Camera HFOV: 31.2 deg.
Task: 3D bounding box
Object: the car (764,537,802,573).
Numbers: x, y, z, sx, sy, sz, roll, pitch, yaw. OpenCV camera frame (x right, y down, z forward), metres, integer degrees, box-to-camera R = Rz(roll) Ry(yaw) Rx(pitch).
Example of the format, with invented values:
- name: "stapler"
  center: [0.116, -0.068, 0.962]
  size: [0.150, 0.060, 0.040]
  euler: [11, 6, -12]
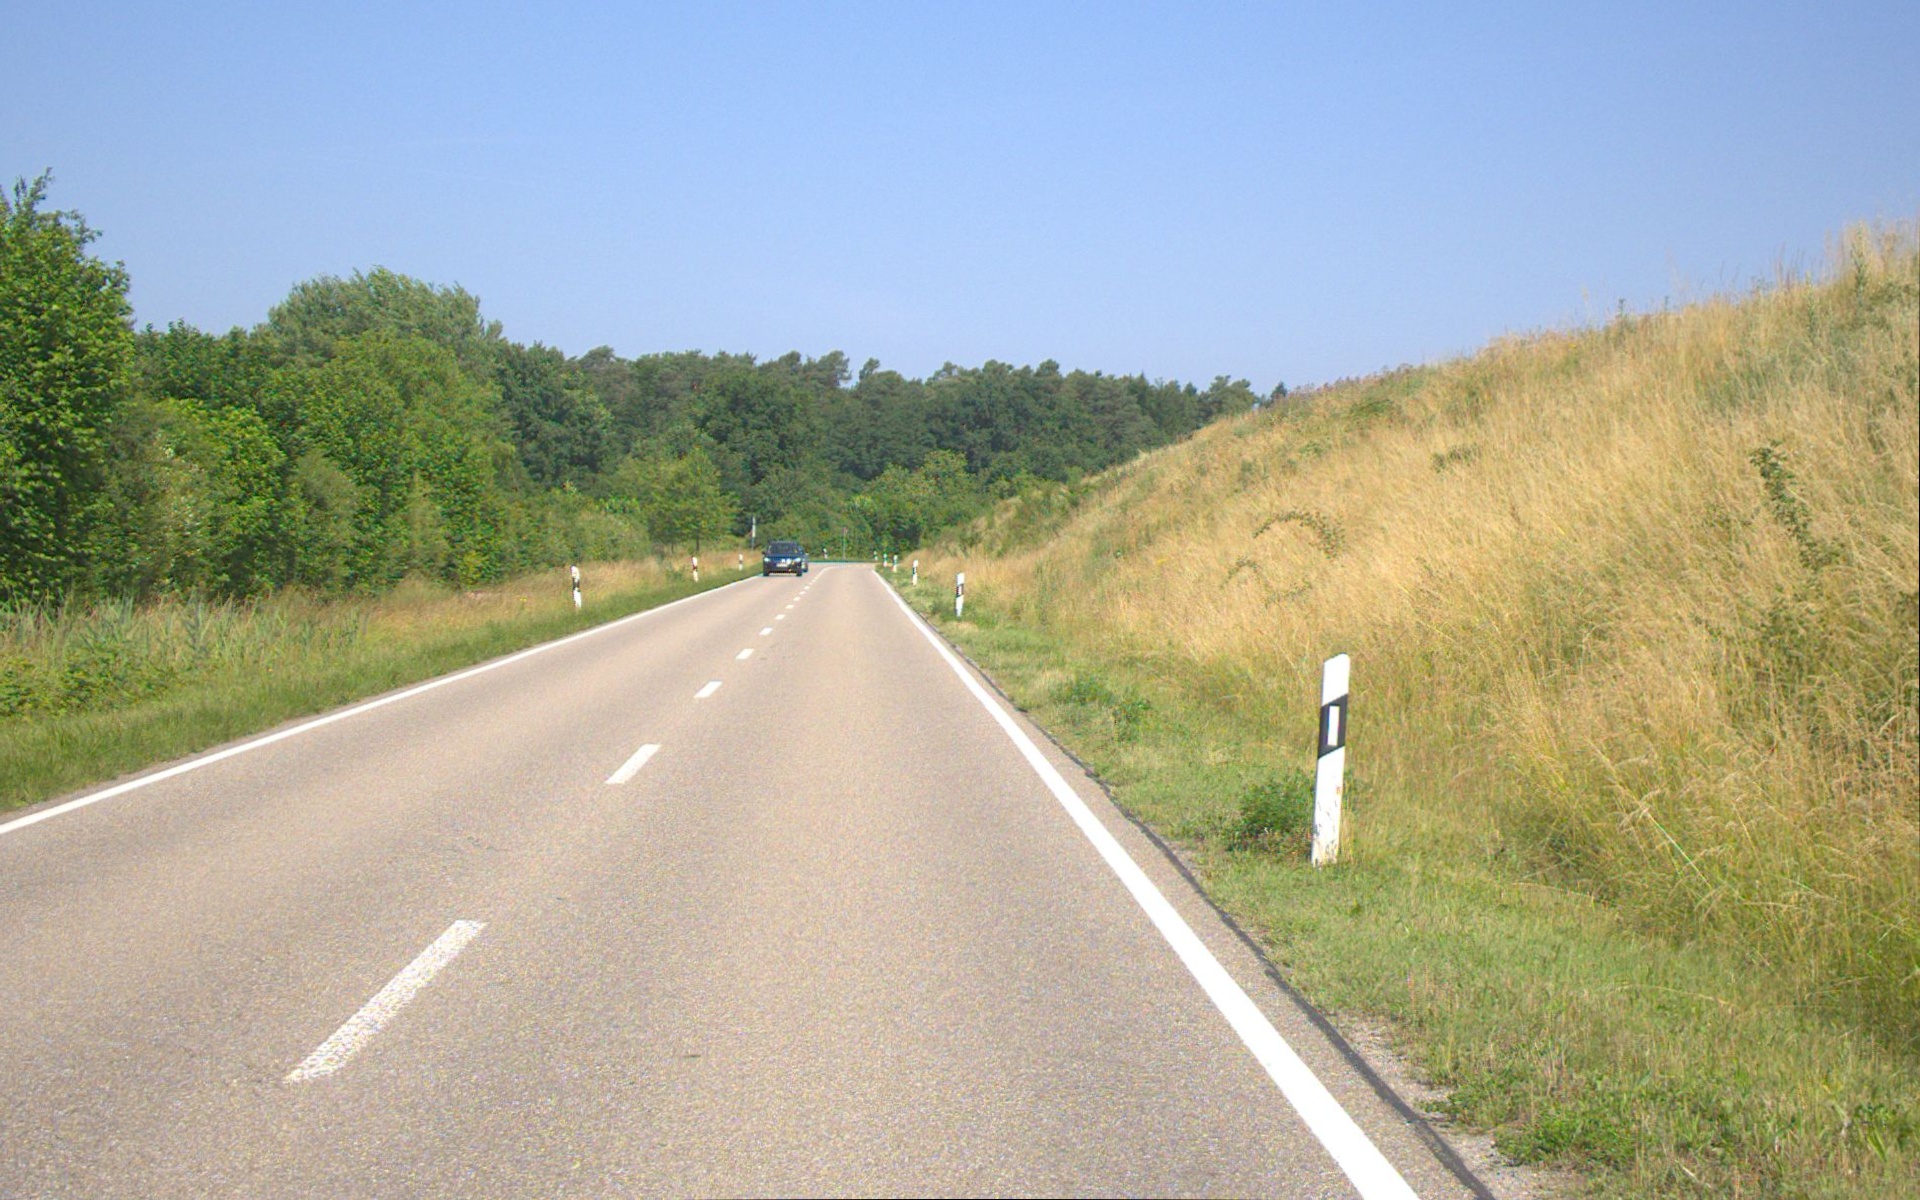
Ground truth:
- name: "car"
  center: [-8.323, -2.126, 162.151]
  size: [1.716, 1.641, 3.915]
  euler: [1, 1, -2]
